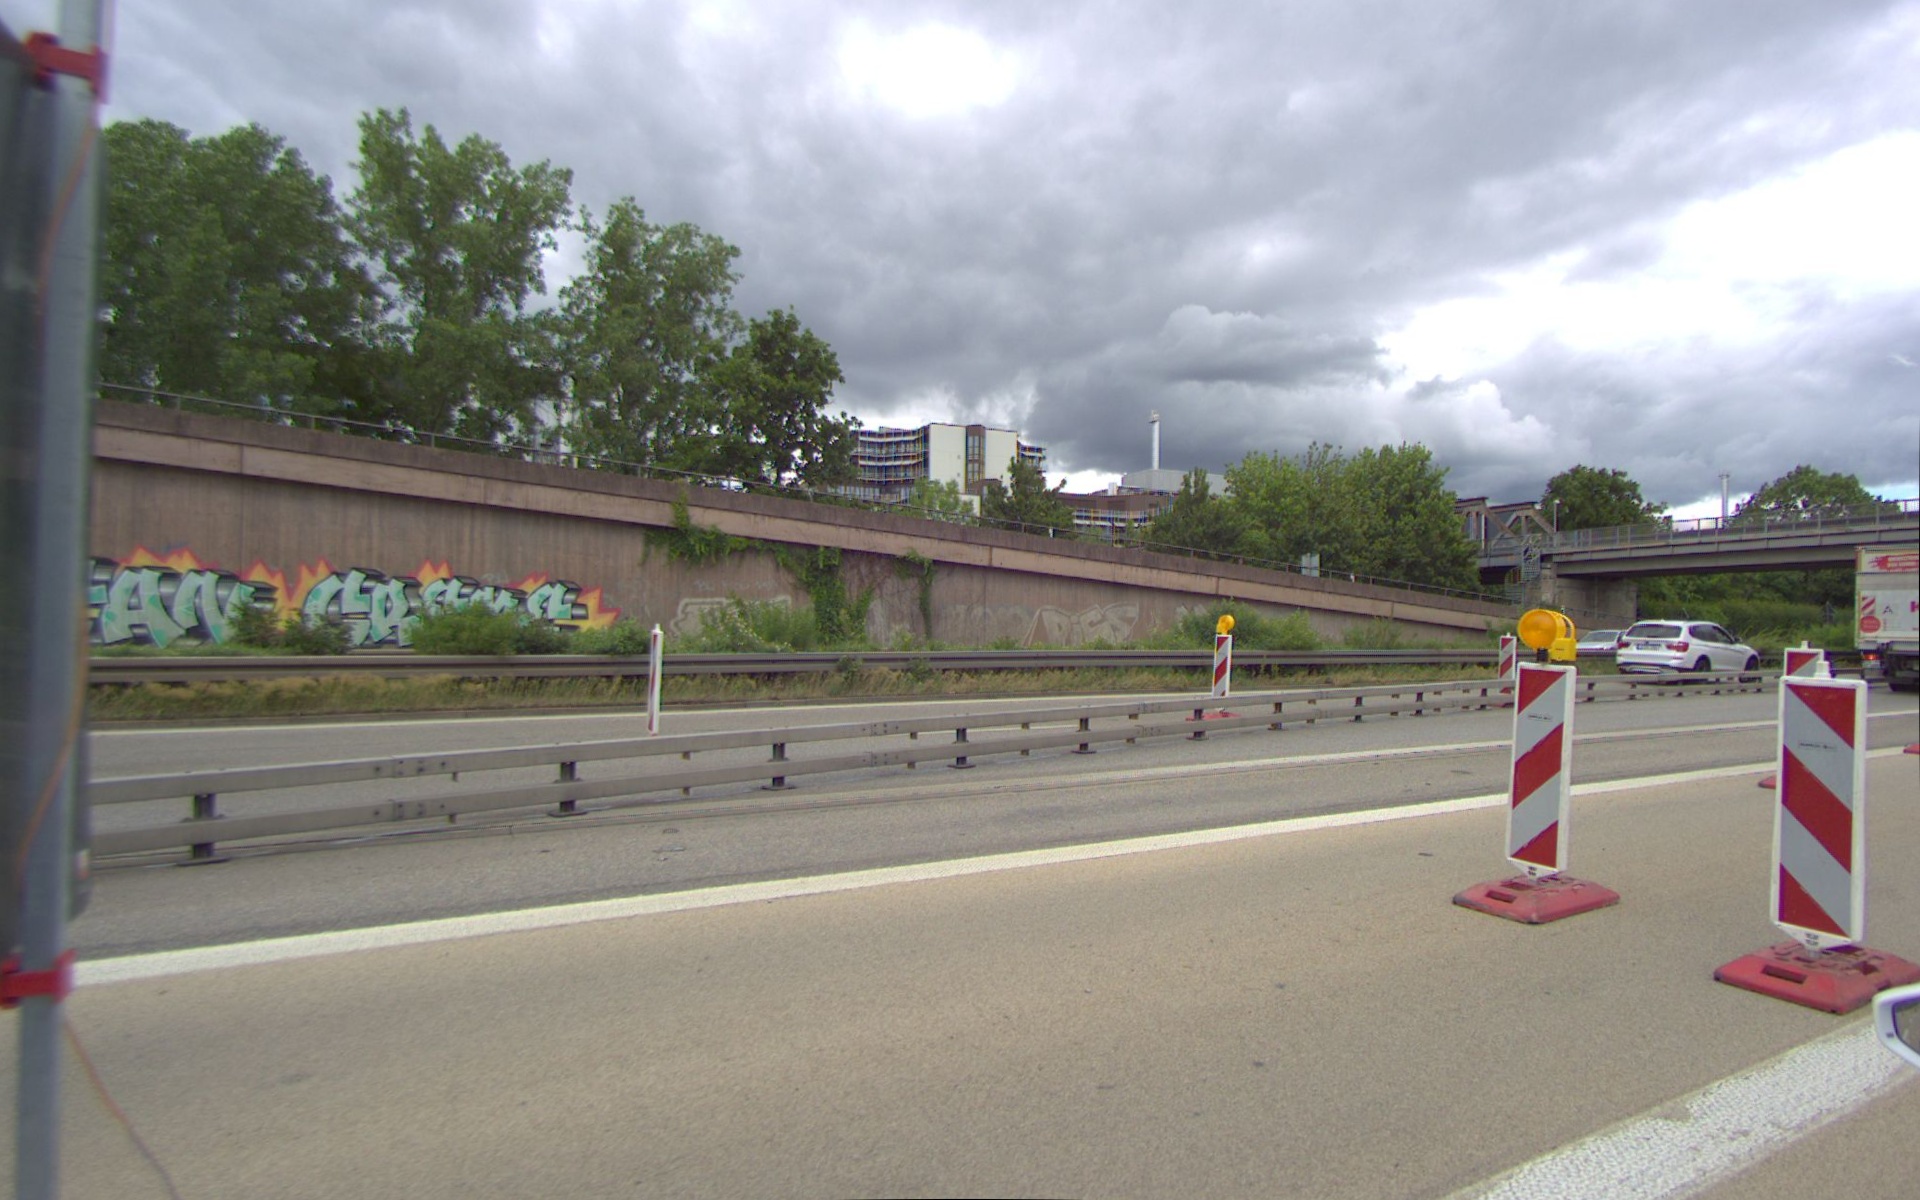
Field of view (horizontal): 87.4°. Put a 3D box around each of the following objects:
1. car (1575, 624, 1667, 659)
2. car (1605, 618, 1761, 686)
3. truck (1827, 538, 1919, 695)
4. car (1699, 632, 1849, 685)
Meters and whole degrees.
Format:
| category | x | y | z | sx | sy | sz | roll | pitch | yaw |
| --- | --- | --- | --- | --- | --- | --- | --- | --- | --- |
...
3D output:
| category | x | y | z | sx | sy | sz | roll | pitch | yaw |
| --- | --- | --- | --- | --- | --- | --- | --- | --- | --- |
| car | 28.759 | 1.817 | 43.682 | 3.935 | 1.471 | 1.880 | 2 | -2 | -32 |
| car | 19.411 | 1.381 | 26.949 | 4.242 | 1.662 | 1.845 | 2 | -1 | -31 |
| truck | 26.566 | 0.455 | 26.231 | 10.036 | 3.678 | 2.938 | 1 | -1 | -31 |
| car | 24.127 | 1.721 | 29.751 | 4.545 | 1.432 | 1.964 | 2 | -1 | -30 |
